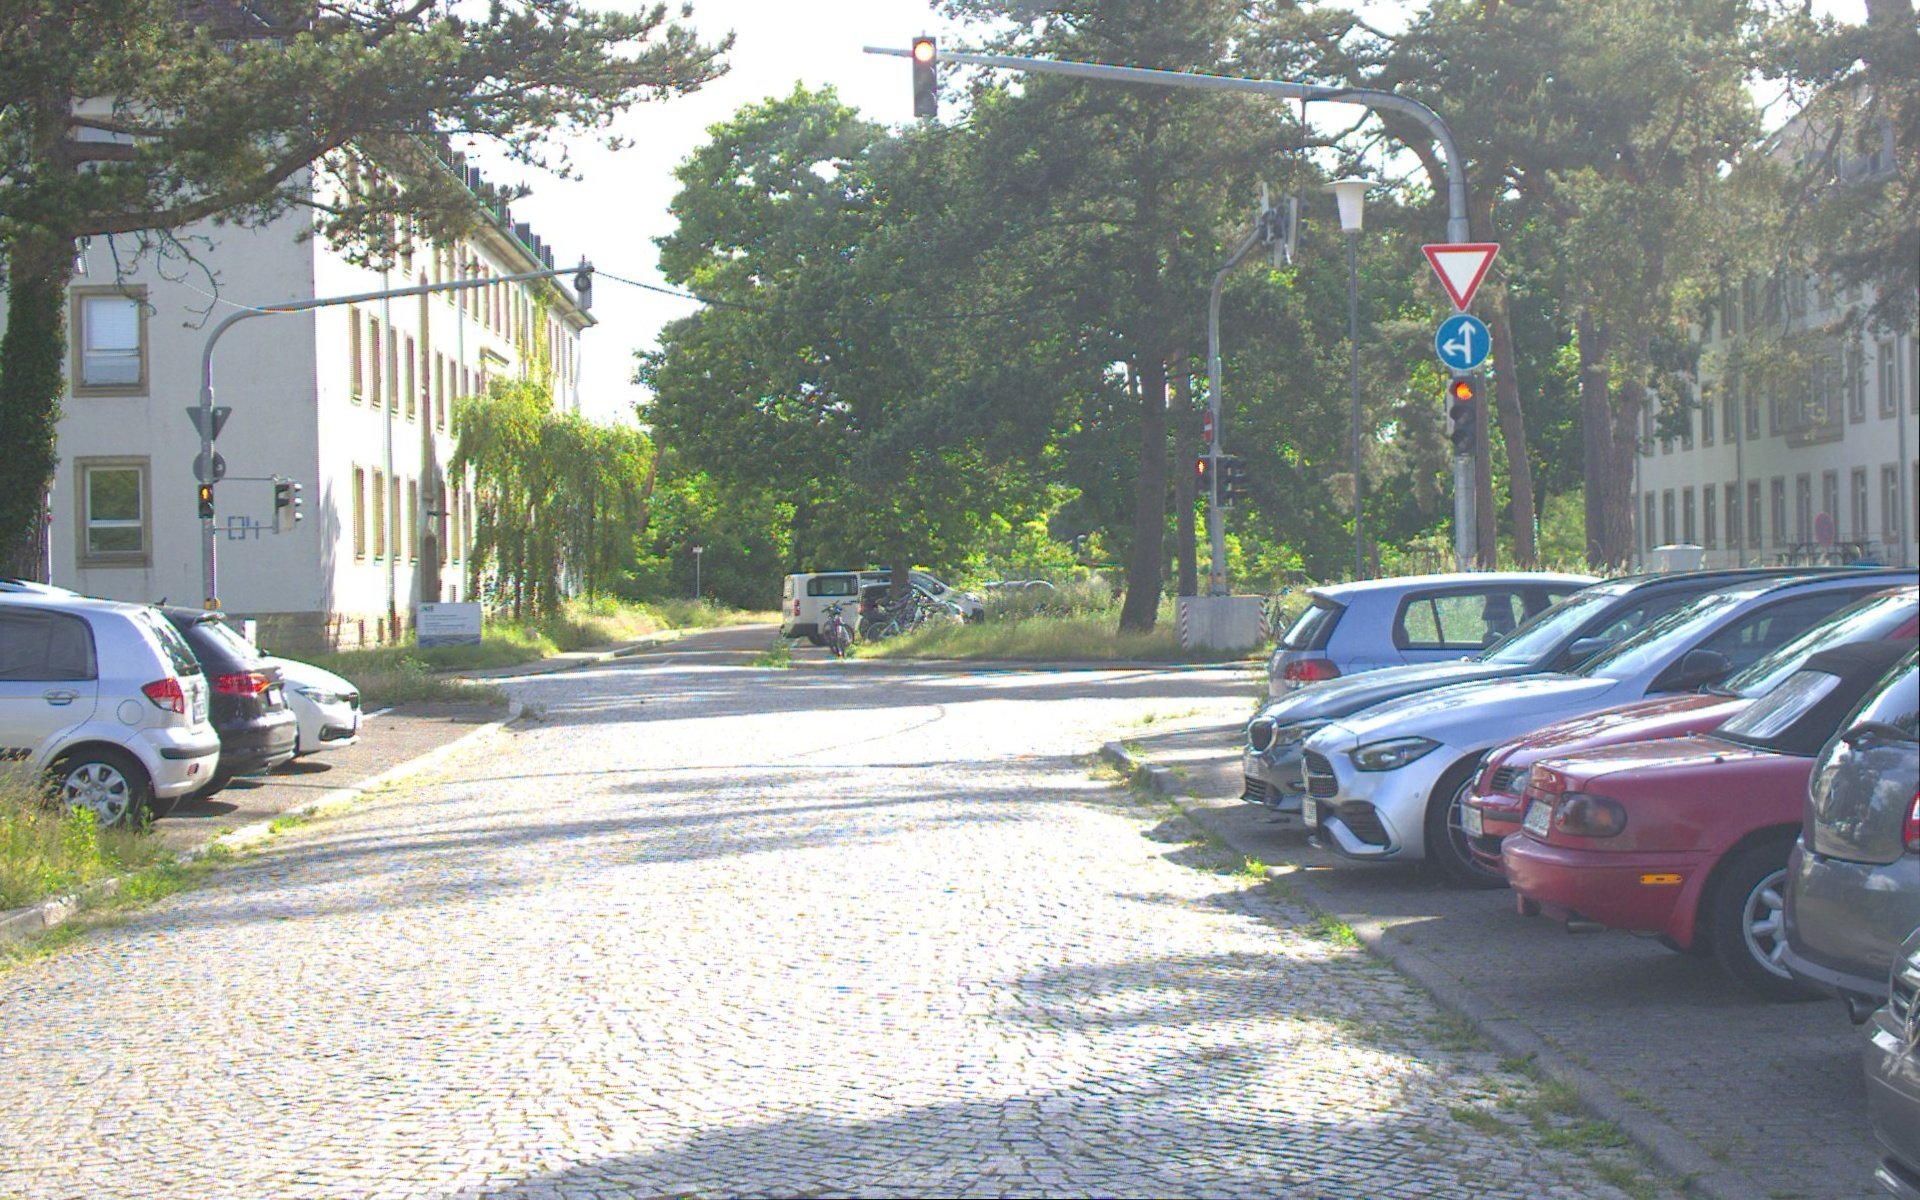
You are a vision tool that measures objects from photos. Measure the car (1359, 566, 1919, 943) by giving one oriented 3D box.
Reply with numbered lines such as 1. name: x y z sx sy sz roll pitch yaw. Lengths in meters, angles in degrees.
1. car: 3.942 0.598 15.065 4.127 1.444 1.637 -2 1 -1

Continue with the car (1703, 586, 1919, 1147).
1. car: 4.265 0.640 10.069 3.707 1.444 1.816 -2 1 -1

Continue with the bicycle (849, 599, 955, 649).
1. bicycle: -1.210 0.500 71.531 2.108 1.007 0.621 1 0 -9

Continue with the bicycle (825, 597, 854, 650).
1. bicycle: -2.382 0.462 67.796 0.467 1.007 1.586 1 0 -5

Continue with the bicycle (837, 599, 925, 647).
1. bicycle: -1.717 0.506 74.885 1.837 1.007 0.636 1 0 -9

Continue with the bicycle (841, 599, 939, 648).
1. bicycle: -1.513 0.506 74.015 2.027 1.007 0.627 1 0 -9

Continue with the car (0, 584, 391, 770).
1. car: -7.154 0.631 29.437 4.333 1.463 1.831 1 1 -4

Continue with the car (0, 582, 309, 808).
1. car: -6.700 0.626 24.113 3.986 1.475 1.803 1 1 -4

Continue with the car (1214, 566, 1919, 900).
1. car: 3.585 0.602 17.143 4.432 1.410 1.781 -2 1 -1

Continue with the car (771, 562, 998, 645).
1. car: -1.966 0.100 89.238 5.520 2.007 2.001 1 0 -19

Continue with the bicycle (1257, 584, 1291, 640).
1. bicycle: 5.426 0.210 59.458 0.300 0.957 1.586 1 0 -5

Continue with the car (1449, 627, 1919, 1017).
1. car: 3.813 0.727 12.663 3.707 1.219 1.746 -2 1 -1

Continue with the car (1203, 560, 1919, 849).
1. car: 3.777 0.562 19.862 4.559 1.410 1.637 -2 1 -1

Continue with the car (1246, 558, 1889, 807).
1. car: 3.928 0.512 22.645 3.882 1.410 1.637 -2 1 -1

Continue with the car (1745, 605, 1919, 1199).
1. car: 3.742 0.684 7.190 3.707 1.444 1.856 -2 1 -1

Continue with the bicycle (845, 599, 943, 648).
1. bicycle: -1.412 0.504 73.135 2.004 1.007 0.632 1 0 -9

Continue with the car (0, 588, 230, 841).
1. car: -6.585 0.667 21.488 3.745 1.482 1.646 1 1 -4

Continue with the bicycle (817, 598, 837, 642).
1. bicycle: -3.129 0.471 81.043 0.417 1.007 1.483 1 0 -1

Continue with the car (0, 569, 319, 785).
1. car: -7.214 0.564 26.980 4.079 1.588 1.886 1 1 -4

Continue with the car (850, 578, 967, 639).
1. car: -1.299 0.222 85.902 2.781 1.462 1.671 1 0 -6
